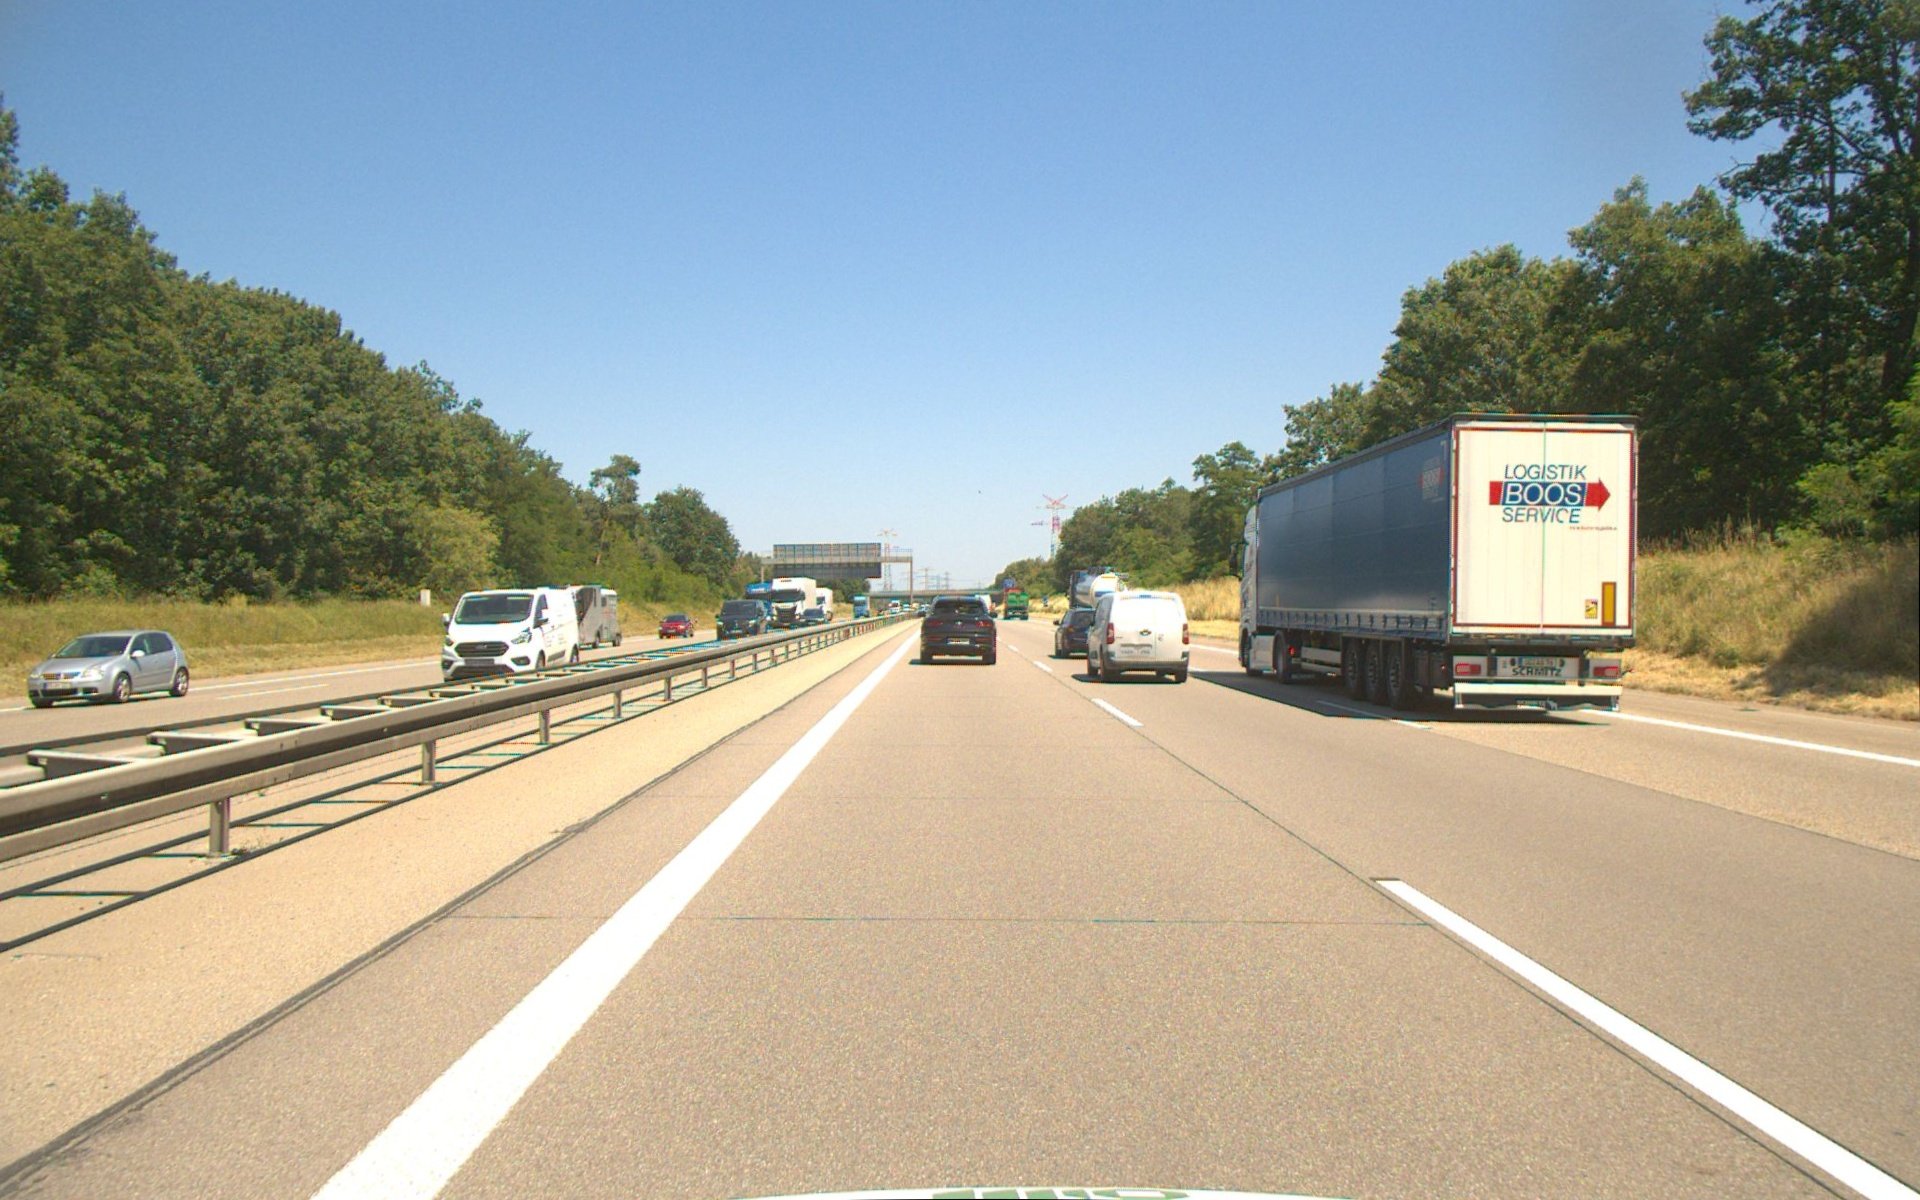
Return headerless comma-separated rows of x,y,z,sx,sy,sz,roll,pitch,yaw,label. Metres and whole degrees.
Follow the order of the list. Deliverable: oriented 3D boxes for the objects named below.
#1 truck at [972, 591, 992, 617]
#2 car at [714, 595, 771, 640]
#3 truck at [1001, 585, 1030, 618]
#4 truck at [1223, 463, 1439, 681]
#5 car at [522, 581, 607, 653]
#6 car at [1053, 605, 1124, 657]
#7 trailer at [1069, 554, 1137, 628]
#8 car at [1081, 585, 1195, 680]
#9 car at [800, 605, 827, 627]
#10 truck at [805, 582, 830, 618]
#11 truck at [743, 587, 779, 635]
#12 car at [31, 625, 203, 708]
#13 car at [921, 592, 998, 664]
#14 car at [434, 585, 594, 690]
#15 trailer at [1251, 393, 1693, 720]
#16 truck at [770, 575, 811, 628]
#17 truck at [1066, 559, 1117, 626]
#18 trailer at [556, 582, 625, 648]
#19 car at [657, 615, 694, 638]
2.496,0.451,188.099,2.018,2.965,7.001,0,0,-1,truck
-9.910,0.779,75.793,1.838,1.880,5.833,-2,0,-1,car
6.622,0.222,198.073,2.928,3.794,10.087,1,0,-1,truck
7.883,-0.546,36.005,3.219,4.293,6.006,1,0,-1,truck
-17.129,0.697,71.916,2.168,2.907,6.452,-2,0,-1,car
3.785,0.892,49.152,1.738,1.498,3.871,0,0,-1,car
8.091,-0.457,94.833,2.628,3.904,12.007,1,0,-1,trailer
3.689,0.654,35.099,1.777,1.859,5.109,0,0,-1,car
-10.455,1.122,118.212,1.584,1.508,4.623,-2,0,-1,car
-18.036,0.006,209.287,2.647,4.259,6.187,-2,0,-1,truck
-18.509,1.024,153.968,2.615,4.242,6.187,-2,0,-1,truck
-17.397,1.323,34.328,1.537,1.490,4.034,-2,0,-2,car
-0.078,0.689,44.315,1.901,1.782,5.812,0,1,-1,car
-9.468,0.743,35.648,1.955,1.981,5.740,-2,0,-2,car
7.994,-0.541,28.724,3.219,4.293,13.561,1,0,-1,trailer
-13.637,0.126,133.335,2.615,4.059,6.339,-2,0,-1,truck
7.988,-0.424,100.546,2.628,3.904,4.443,1,0,-1,truck
-17.251,0.695,77.494,2.168,2.907,4.584,-2,0,-1,trailer
-17.726,1.656,103.258,1.606,1.298,4.132,-2,0,-1,car
